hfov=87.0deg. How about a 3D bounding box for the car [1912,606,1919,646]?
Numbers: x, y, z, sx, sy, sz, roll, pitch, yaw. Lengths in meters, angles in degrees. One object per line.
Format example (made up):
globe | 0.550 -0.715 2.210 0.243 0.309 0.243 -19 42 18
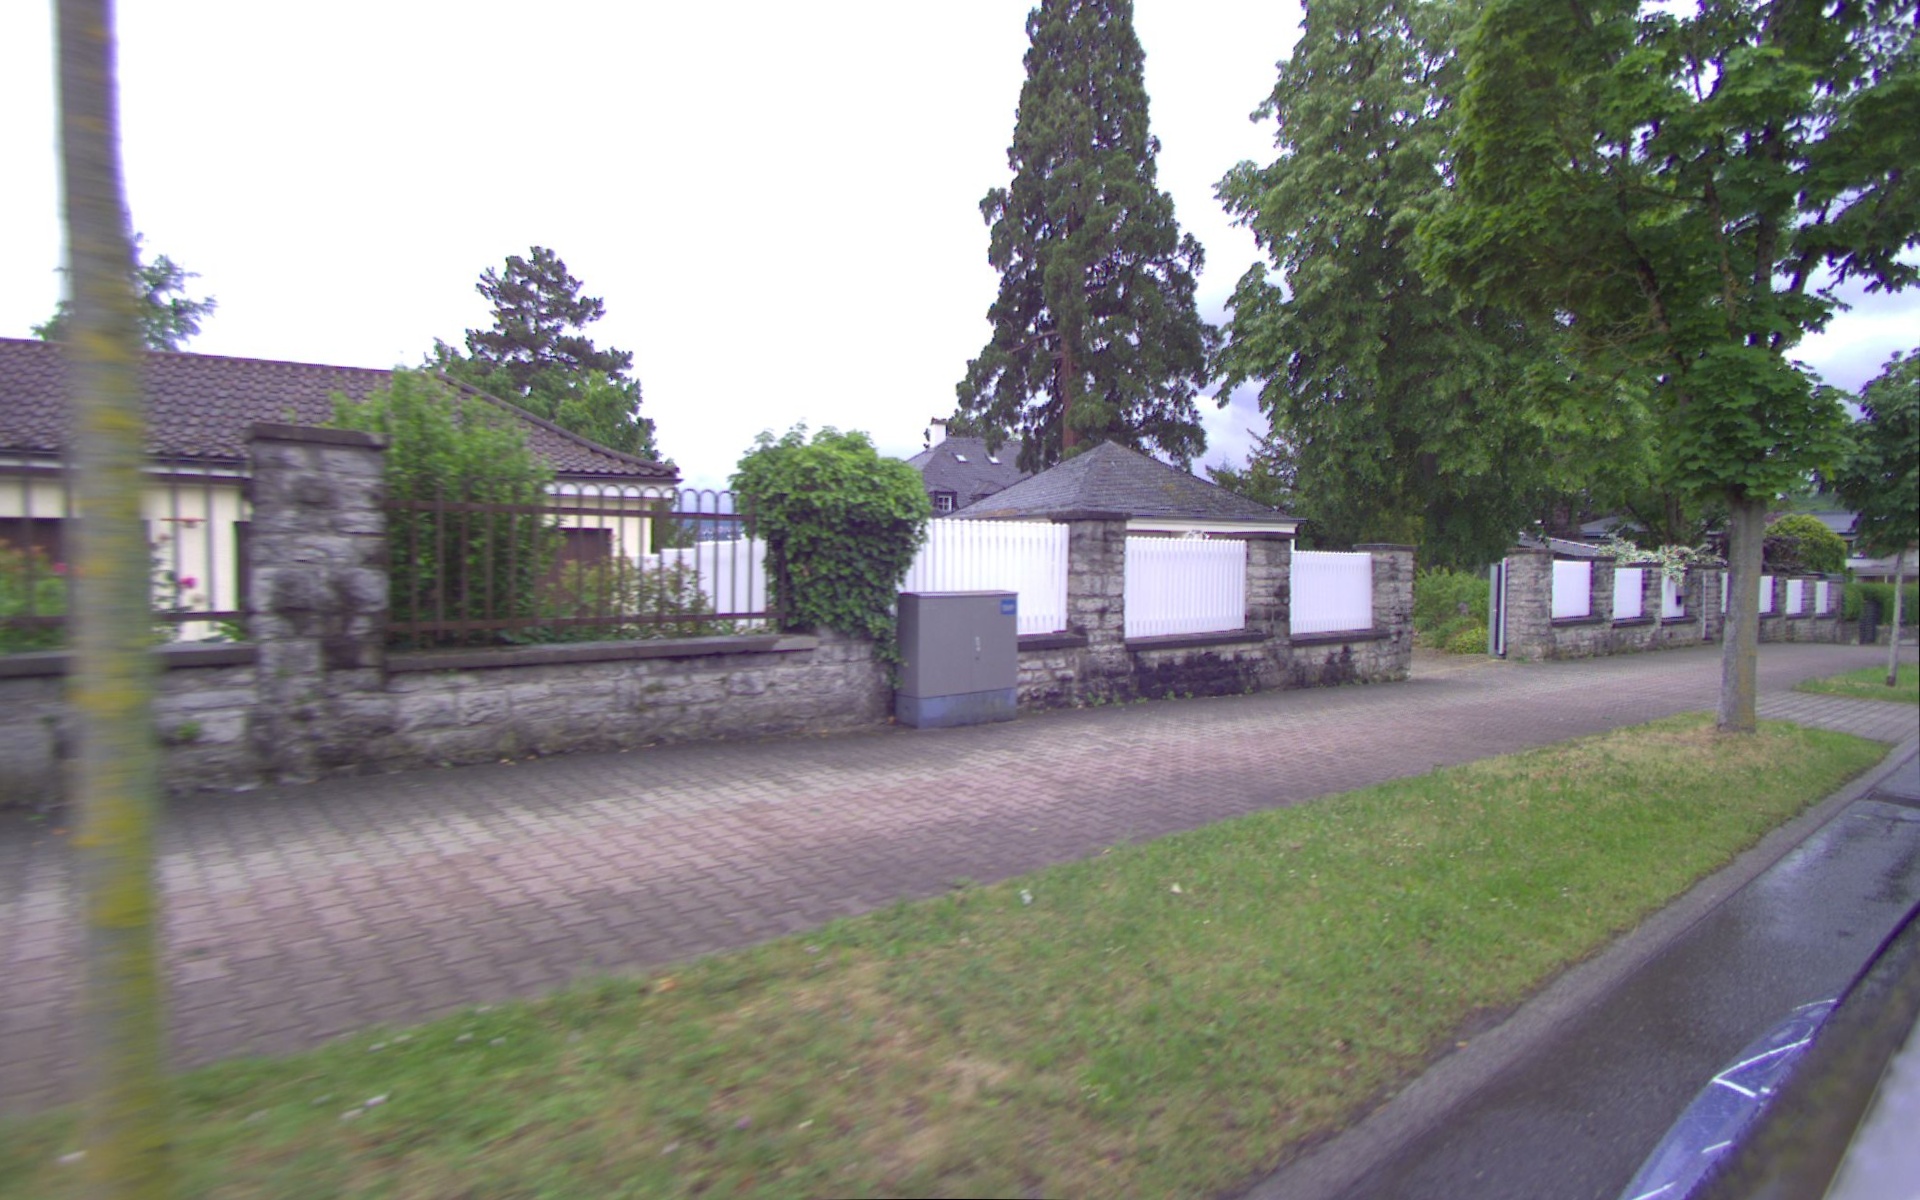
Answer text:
car | 45.352 1.240 46.084 4.846 1.779 1.801 1 1 -33
